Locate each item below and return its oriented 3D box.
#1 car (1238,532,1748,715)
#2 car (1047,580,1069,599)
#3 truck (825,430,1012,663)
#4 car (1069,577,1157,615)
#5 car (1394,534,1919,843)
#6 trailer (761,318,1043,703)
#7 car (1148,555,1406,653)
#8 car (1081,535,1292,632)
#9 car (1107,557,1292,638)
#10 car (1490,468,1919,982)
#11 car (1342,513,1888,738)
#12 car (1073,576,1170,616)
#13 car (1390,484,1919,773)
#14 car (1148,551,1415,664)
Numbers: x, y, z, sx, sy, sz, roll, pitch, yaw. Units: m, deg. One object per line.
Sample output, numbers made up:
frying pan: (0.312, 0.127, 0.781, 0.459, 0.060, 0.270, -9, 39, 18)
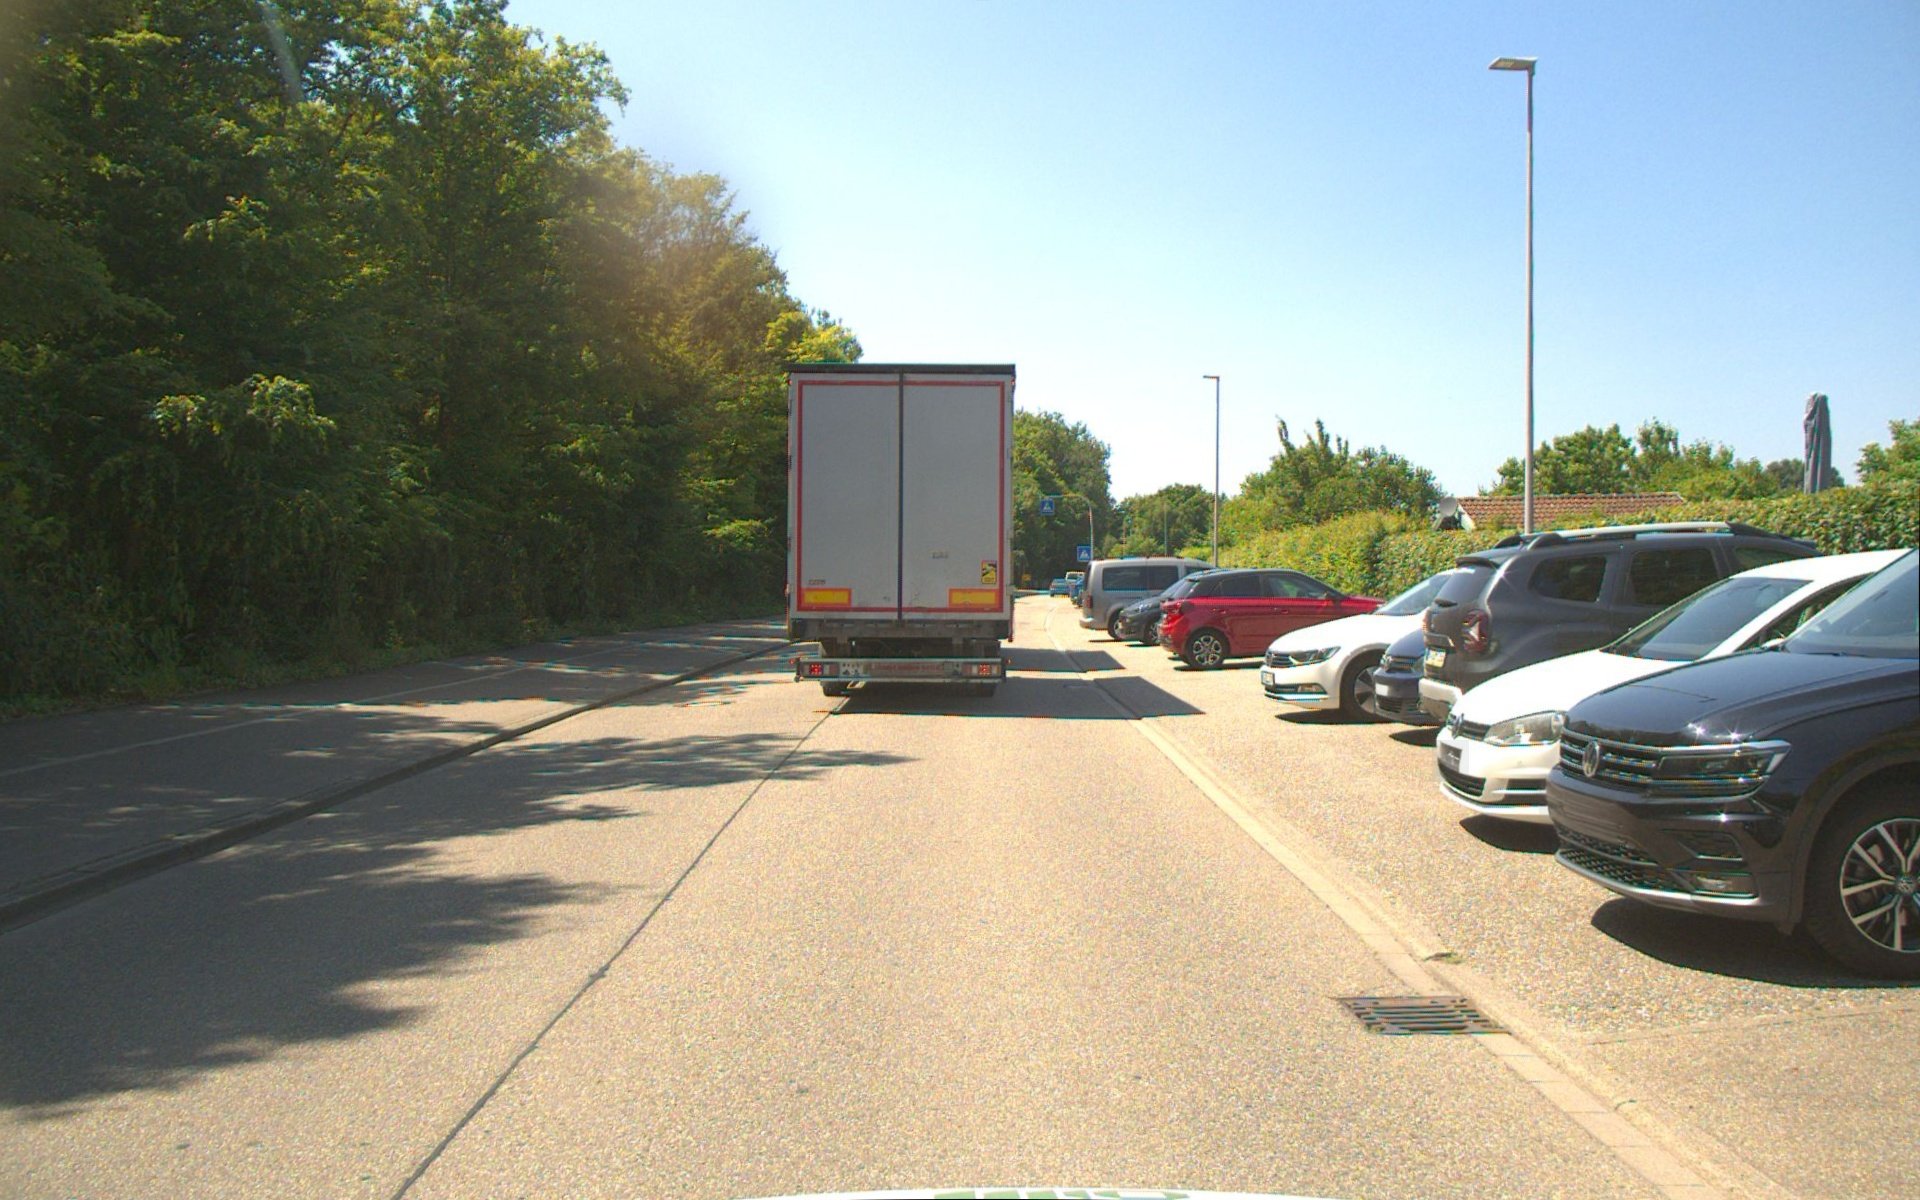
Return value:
car: (5.279, 0.206, 16.783, 4.467, 1.464, 1.960, -4, 1, -3)
car: (7.805, -0.845, 131.832, 1.744, 1.512, 4.002, 1, 1, 3)
truck: (-0.657, -0.928, 30.213, 3.050, 3.790, 6.414, 0, 1, 0)
car: (7.425, -0.206, 80.601, 4.149, 1.662, 1.824, -3, 0, 3)
car: (4.687, 0.409, 9.459, 3.914, 1.477, 1.832, -3, 1, 2)
trailer: (-0.672, -1.055, 23.773, 3.049, 4.174, 11.536, 0, 1, 0)
car: (5.507, 0.057, 29.091, 4.118, 1.412, 1.841, -4, 1, 0)
car: (5.132, -0.395, 37.977, 4.525, 1.880, 1.996, -4, 1, 2)
car: (4.986, -0.063, 34.796, 3.505, 1.528, 1.840, -2, 1, -4)
car: (4.705, 0.305, 6.765, 4.381, 1.733, 1.913, -4, 1, -2)
car: (5.540, 0.190, 14.323, 3.968, 1.575, 1.757, -4, 1, -2)
car: (6.948, -0.188, 71.532, 4.077, 1.521, 1.883, -3, 0, 3)
car: (5.449, 0.139, 11.903, 4.170, 1.728, 1.854, -4, 1, 2)
car: (5.040, 0.101, 26.299, 3.839, 1.504, 1.845, -4, 1, 1)
